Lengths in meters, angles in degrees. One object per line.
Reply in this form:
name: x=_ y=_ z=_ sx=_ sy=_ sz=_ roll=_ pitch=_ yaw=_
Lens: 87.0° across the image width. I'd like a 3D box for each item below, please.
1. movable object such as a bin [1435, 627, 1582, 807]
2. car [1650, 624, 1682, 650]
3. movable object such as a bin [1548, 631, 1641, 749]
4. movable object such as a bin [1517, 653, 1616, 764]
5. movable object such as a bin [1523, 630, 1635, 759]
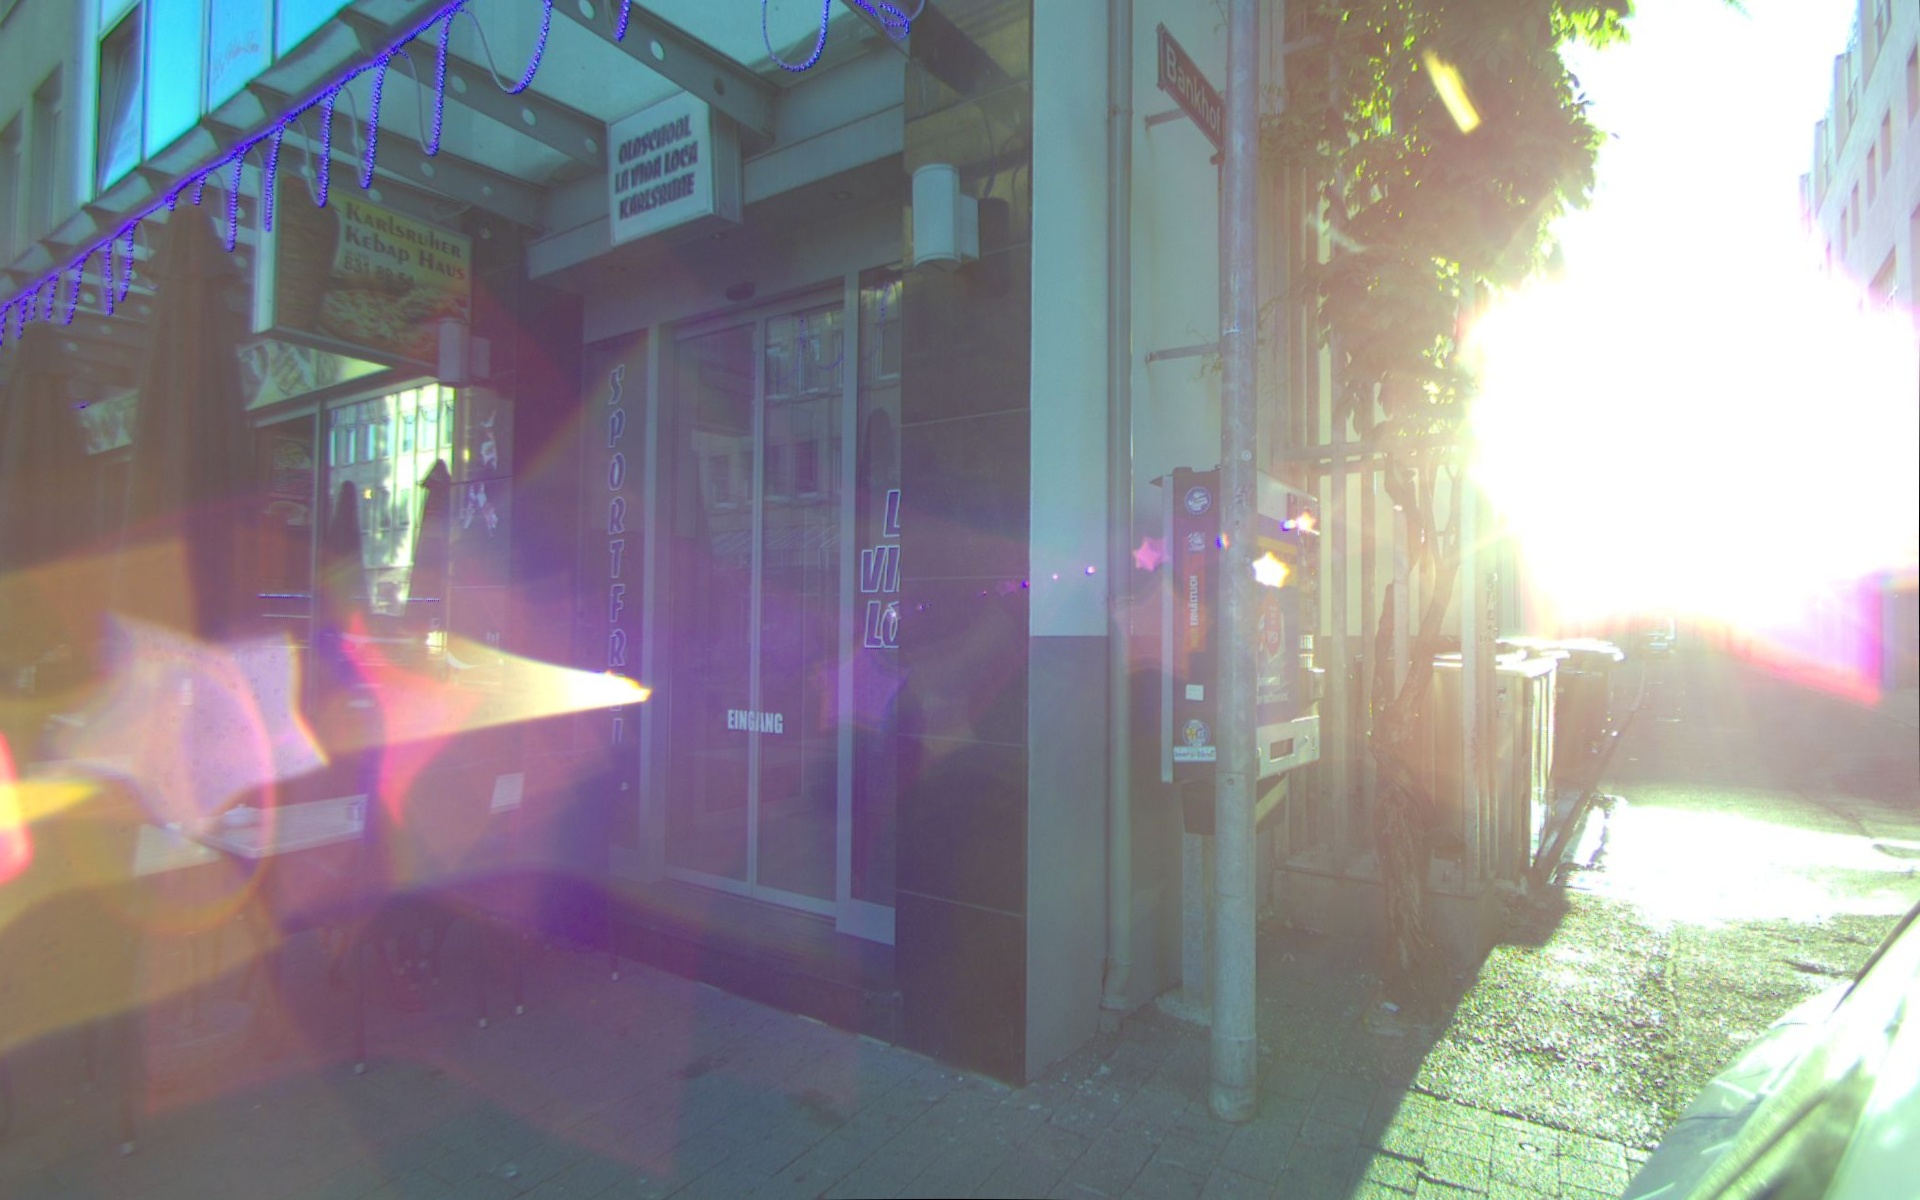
movable object such as a bin: x=4.589 y=0.909 z=8.429 sx=0.834 sy=1.321 sz=1.271 roll=2 pitch=-1 yaw=39
car: x=49.516 y=2.593 z=70.968 sx=1.754 sy=1.790 sz=4.688 roll=-3 pitch=-3 yaw=35
movable object such as a bin: x=8.216 y=1.127 z=13.171 sx=0.932 sy=1.384 sz=1.328 roll=2 pitch=-1 yaw=30
movable object such as a bin: x=6.652 y=1.156 z=11.095 sx=0.866 sy=1.088 sz=0.729 roll=2 pitch=-1 yaw=35
movable object such as a bin: x=7.390 y=1.069 z=12.059 sx=1.060 sy=1.384 sz=1.325 roll=2 pitch=-1 yaw=34
